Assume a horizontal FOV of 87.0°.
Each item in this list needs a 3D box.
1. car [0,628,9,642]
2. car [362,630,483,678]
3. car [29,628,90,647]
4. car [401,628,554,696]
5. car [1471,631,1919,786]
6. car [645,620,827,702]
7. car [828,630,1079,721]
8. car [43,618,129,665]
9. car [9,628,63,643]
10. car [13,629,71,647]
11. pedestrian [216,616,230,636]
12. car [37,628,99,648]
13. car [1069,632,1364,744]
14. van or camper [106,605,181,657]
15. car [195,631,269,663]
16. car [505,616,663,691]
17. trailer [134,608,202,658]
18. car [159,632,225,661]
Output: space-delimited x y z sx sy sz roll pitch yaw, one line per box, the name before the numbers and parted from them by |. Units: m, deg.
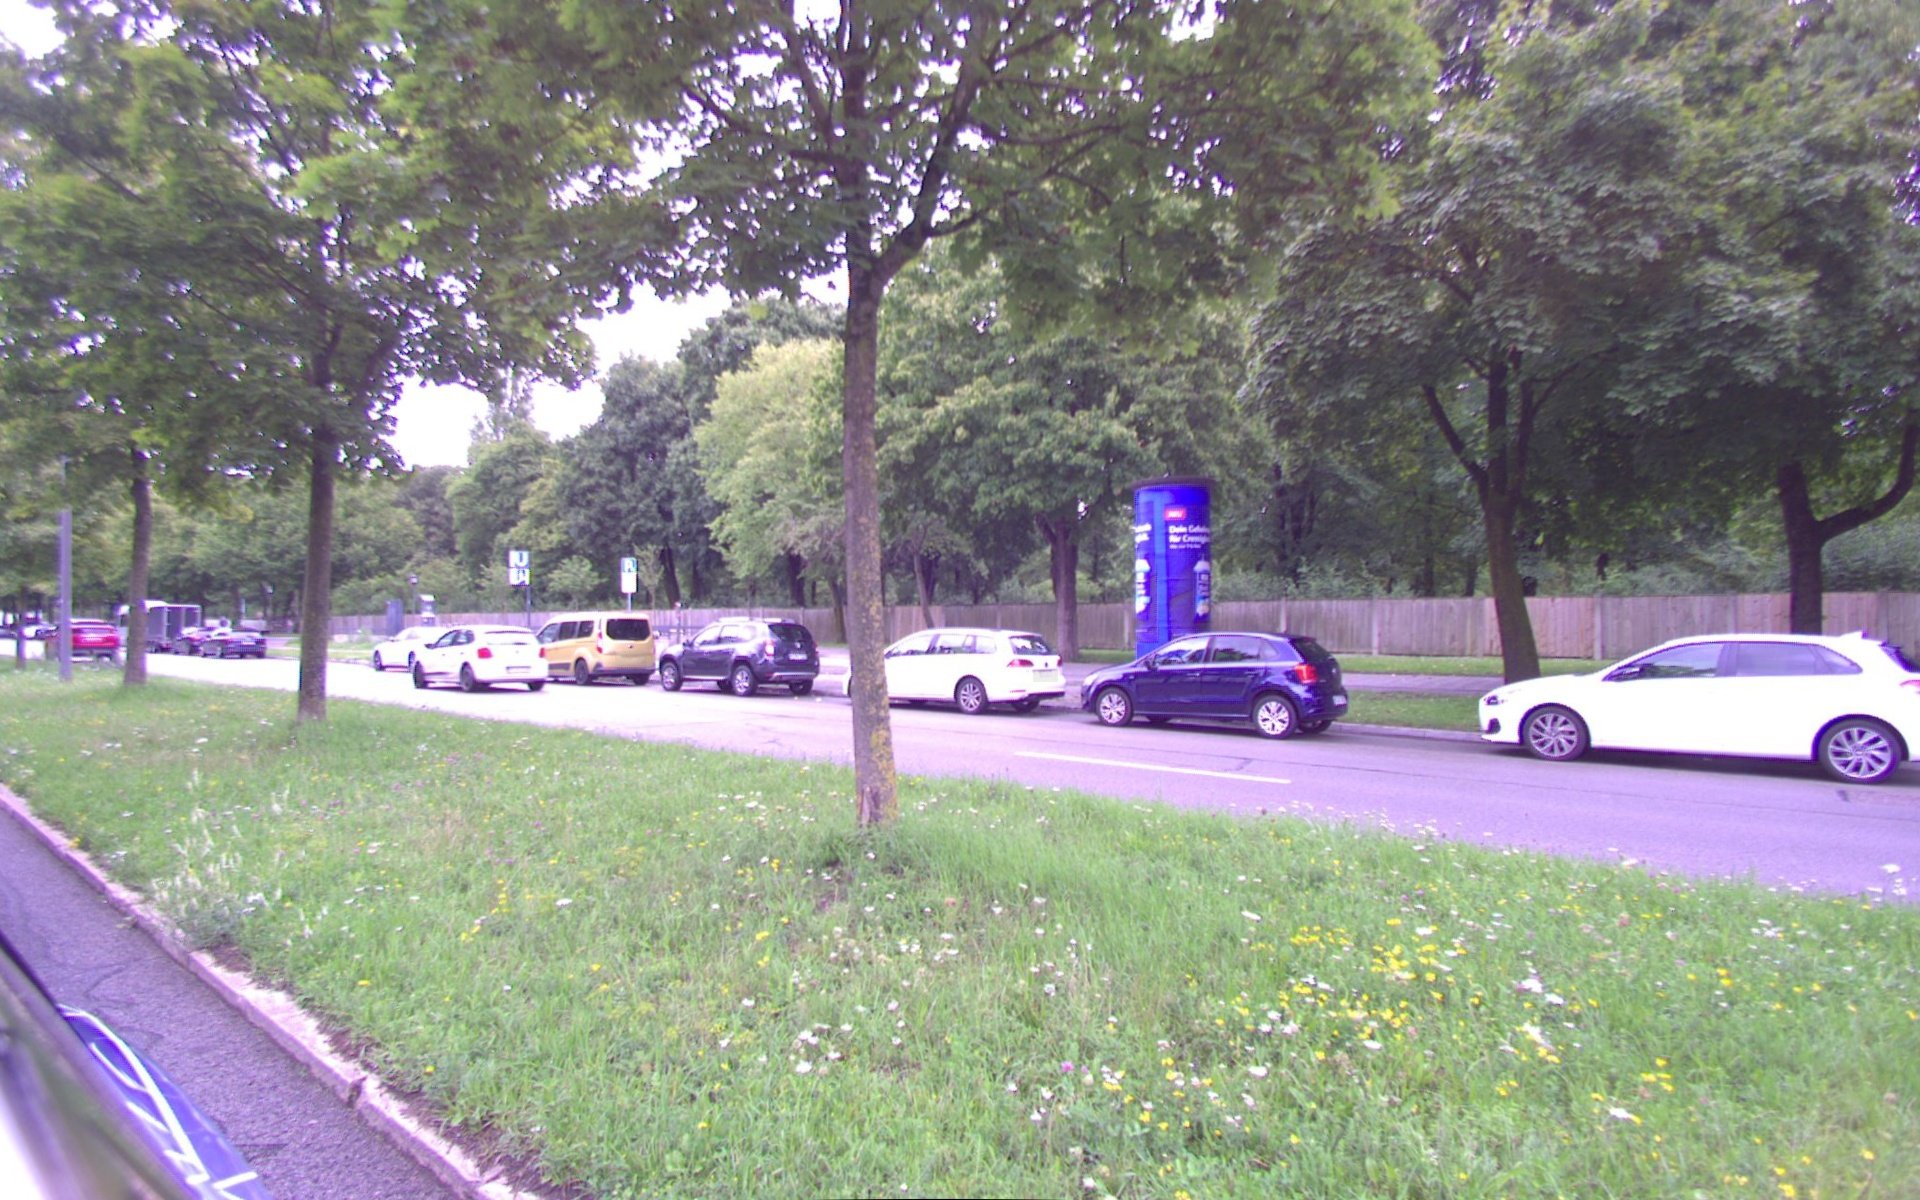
car | -107.675 3.937 113.147 4.170 1.454 1.864 -1 0 45
car | -17.930 1.752 33.674 4.871 1.484 1.838 -2 -3 40
car | -84.078 3.473 94.545 1.869 1.569 3.990 -2 0 8
car | -10.777 1.329 22.512 3.834 1.385 1.602 -1 -3 40
car | 8.205 1.083 11.220 4.276 1.455 1.590 -2 -3 41
car | -5.061 1.311 22.589 4.252 1.658 1.719 -2 -3 40
car | -0.215 1.291 18.398 4.529 1.461 1.744 -2 -3 40
car | -33.868 1.601 39.172 4.243 1.709 1.884 -2 -3 41
car | -93.476 3.593 102.420 1.574 1.376 3.988 -1 0 10
car | -90.983 3.714 100.321 1.869 1.569 3.990 -2 0 8
pedestrian | -65.568 2.348 90.079 0.872 1.781 0.761 -1 -2 37
car | -81.746 3.459 92.771 1.869 1.569 3.990 -2 0 8
car | 3.664 1.193 14.813 3.892 1.428 1.597 -1 -3 38
van or camper | -47.821 1.843 59.164 7.541 2.859 2.014 -2 -3 41
car | -33.803 2.169 46.975 4.428 1.436 1.781 -2 -3 41
car | -9.871 1.359 26.395 4.815 1.796 1.795 -2 -3 42
trailer | -43.196 1.834 55.145 4.655 2.610 1.996 -2 -3 41
car | -38.893 2.332 51.226 4.235 1.394 1.781 -2 -3 41
